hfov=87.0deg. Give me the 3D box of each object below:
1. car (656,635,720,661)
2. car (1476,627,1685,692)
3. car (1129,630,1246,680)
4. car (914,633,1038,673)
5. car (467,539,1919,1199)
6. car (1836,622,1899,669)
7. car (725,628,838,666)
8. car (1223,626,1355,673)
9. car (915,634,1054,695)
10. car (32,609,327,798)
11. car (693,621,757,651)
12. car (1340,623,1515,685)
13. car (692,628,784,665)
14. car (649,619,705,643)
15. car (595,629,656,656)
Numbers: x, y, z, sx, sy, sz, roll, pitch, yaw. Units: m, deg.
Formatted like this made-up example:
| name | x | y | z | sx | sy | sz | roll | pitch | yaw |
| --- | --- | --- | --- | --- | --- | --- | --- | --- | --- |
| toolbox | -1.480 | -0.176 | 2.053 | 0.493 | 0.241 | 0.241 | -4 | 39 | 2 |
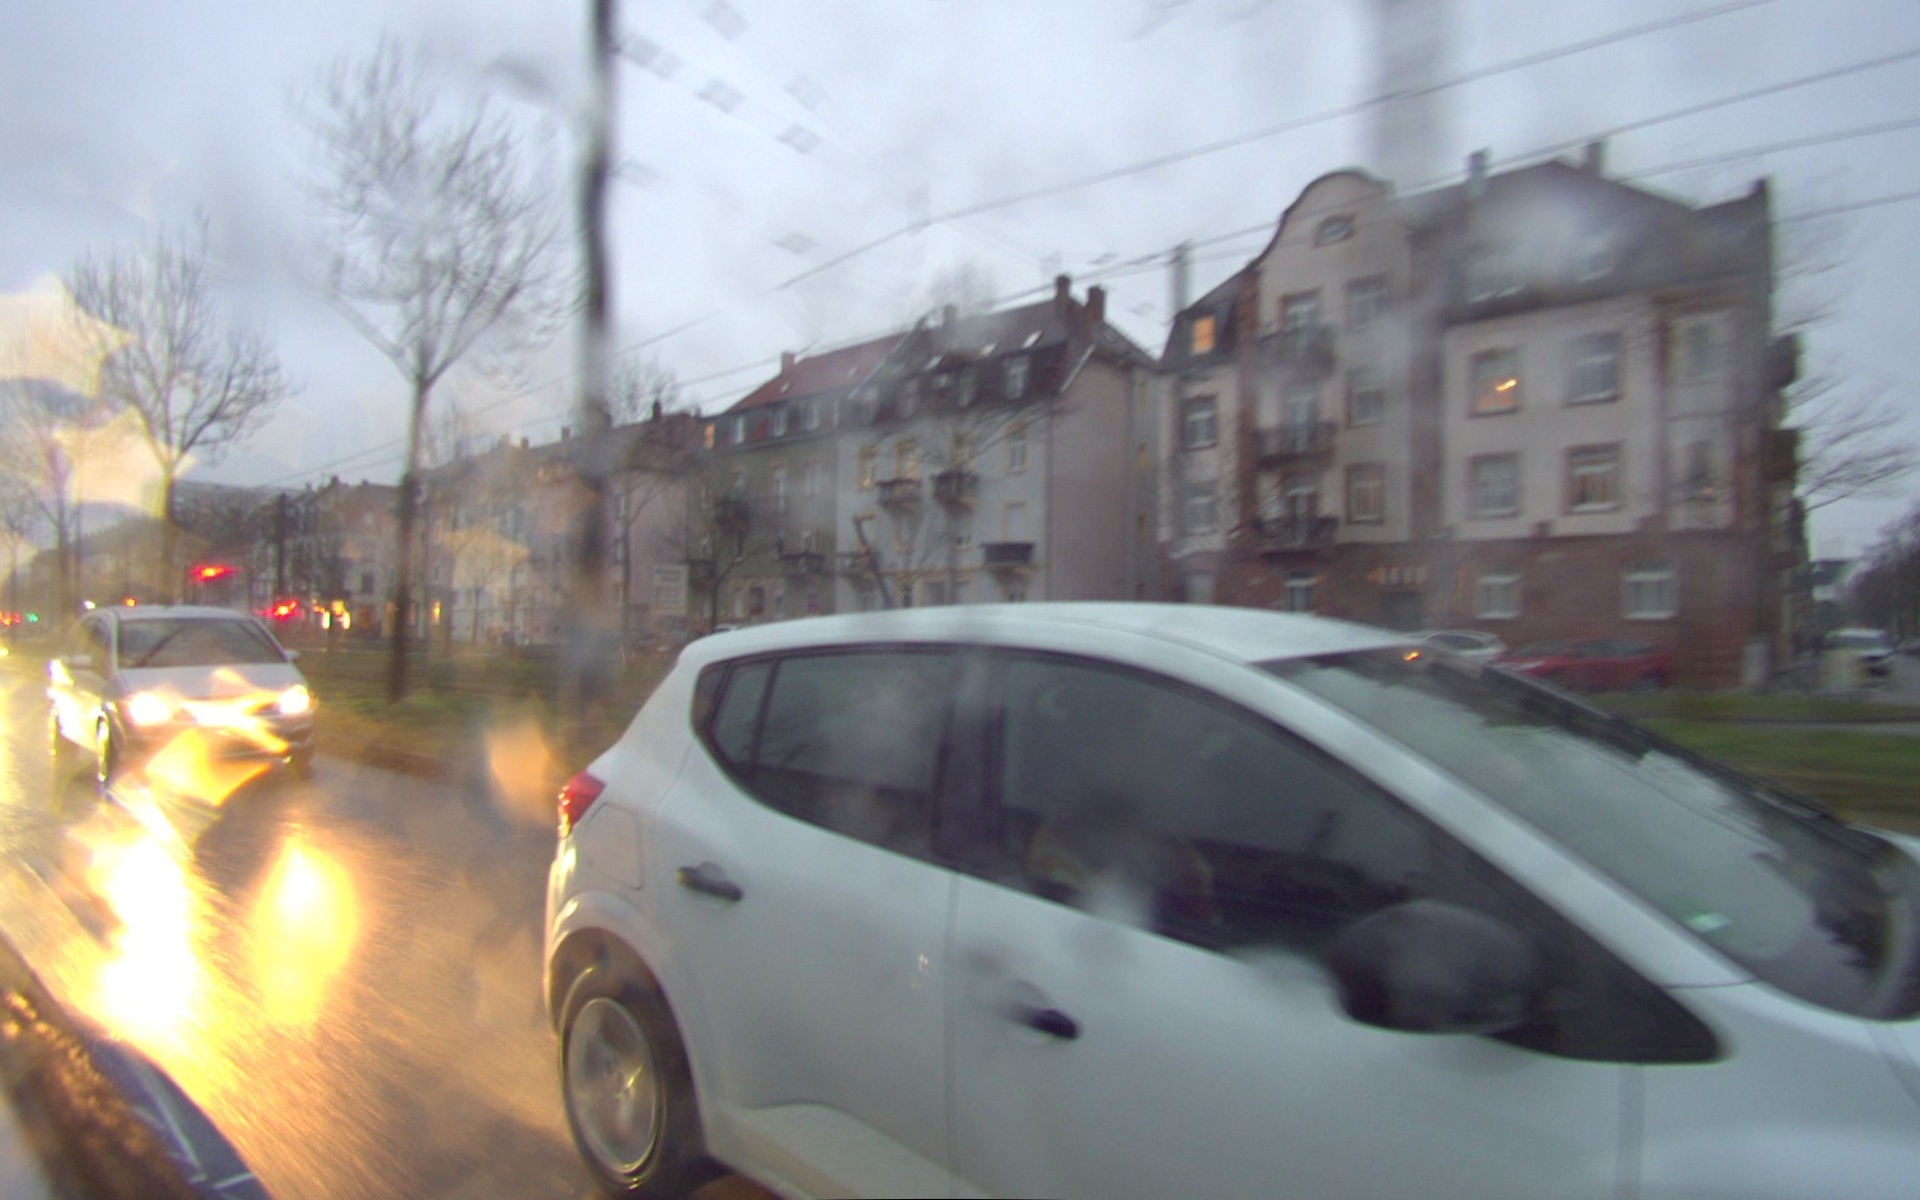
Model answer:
| name | x | y | z | sx | sy | sz | roll | pitch | yaw |
| --- | --- | --- | --- | --- | --- | --- | --- | --- | --- |
| car | -13.889 | 2.420 | 51.658 | 3.898 | 1.177 | 1.217 | -1 | 0 | 42 |
| car | 14.480 | 1.349 | 23.695 | 4.039 | 1.169 | 1.716 | -2 | 2 | -10 |
| car | 7.522 | 1.775 | 33.558 | 3.305 | 1.428 | 1.884 | -1 | 1 | -24 |
| car | 0.534 | 1.899 | 36.446 | 4.198 | 1.267 | 1.837 | -1 | 0 | -9 |
| car | 0.762 | 0.693 | 2.091 | 3.996 | 1.485 | 1.672 | -1 | 0 | 39 |
| car | 36.203 | 1.767 | 40.411 | 1.803 | 1.721 | 3.656 | -1 | 0 | 42 |
| car | -7.554 | 1.966 | 42.742 | 4.586 | 1.443 | 1.698 | -1 | 0 | -13 |
| car | 8.953 | 1.335 | 27.658 | 2.870 | 0.997 | 1.800 | -2 | 2 | -14 |
| car | 0.628 | 1.732 | 28.053 | 3.782 | 1.516 | 1.529 | -1 | 0 | 42 |
| car | -8.002 | 0.885 | 10.255 | 3.905 | 1.531 | 1.617 | -1 | 0 | 41 |
| car | -12.890 | 1.929 | 55.449 | 3.536 | 1.563 | 1.662 | -1 | 0 | 41 |
| car | 11.754 | 1.331 | 25.493 | 3.977 | 1.239 | 1.352 | -2 | 2 | -13 |
| car | -9.856 | 2.071 | 45.104 | 3.888 | 1.459 | 1.823 | -1 | 0 | -9 |
| car | -19.283 | 2.111 | 69.050 | 1.611 | 1.555 | 3.318 | -1 | 0 | 42 |
| car | -18.166 | 2.287 | 54.837 | 3.910 | 1.350 | 1.449 | -1 | 0 | 43 |
